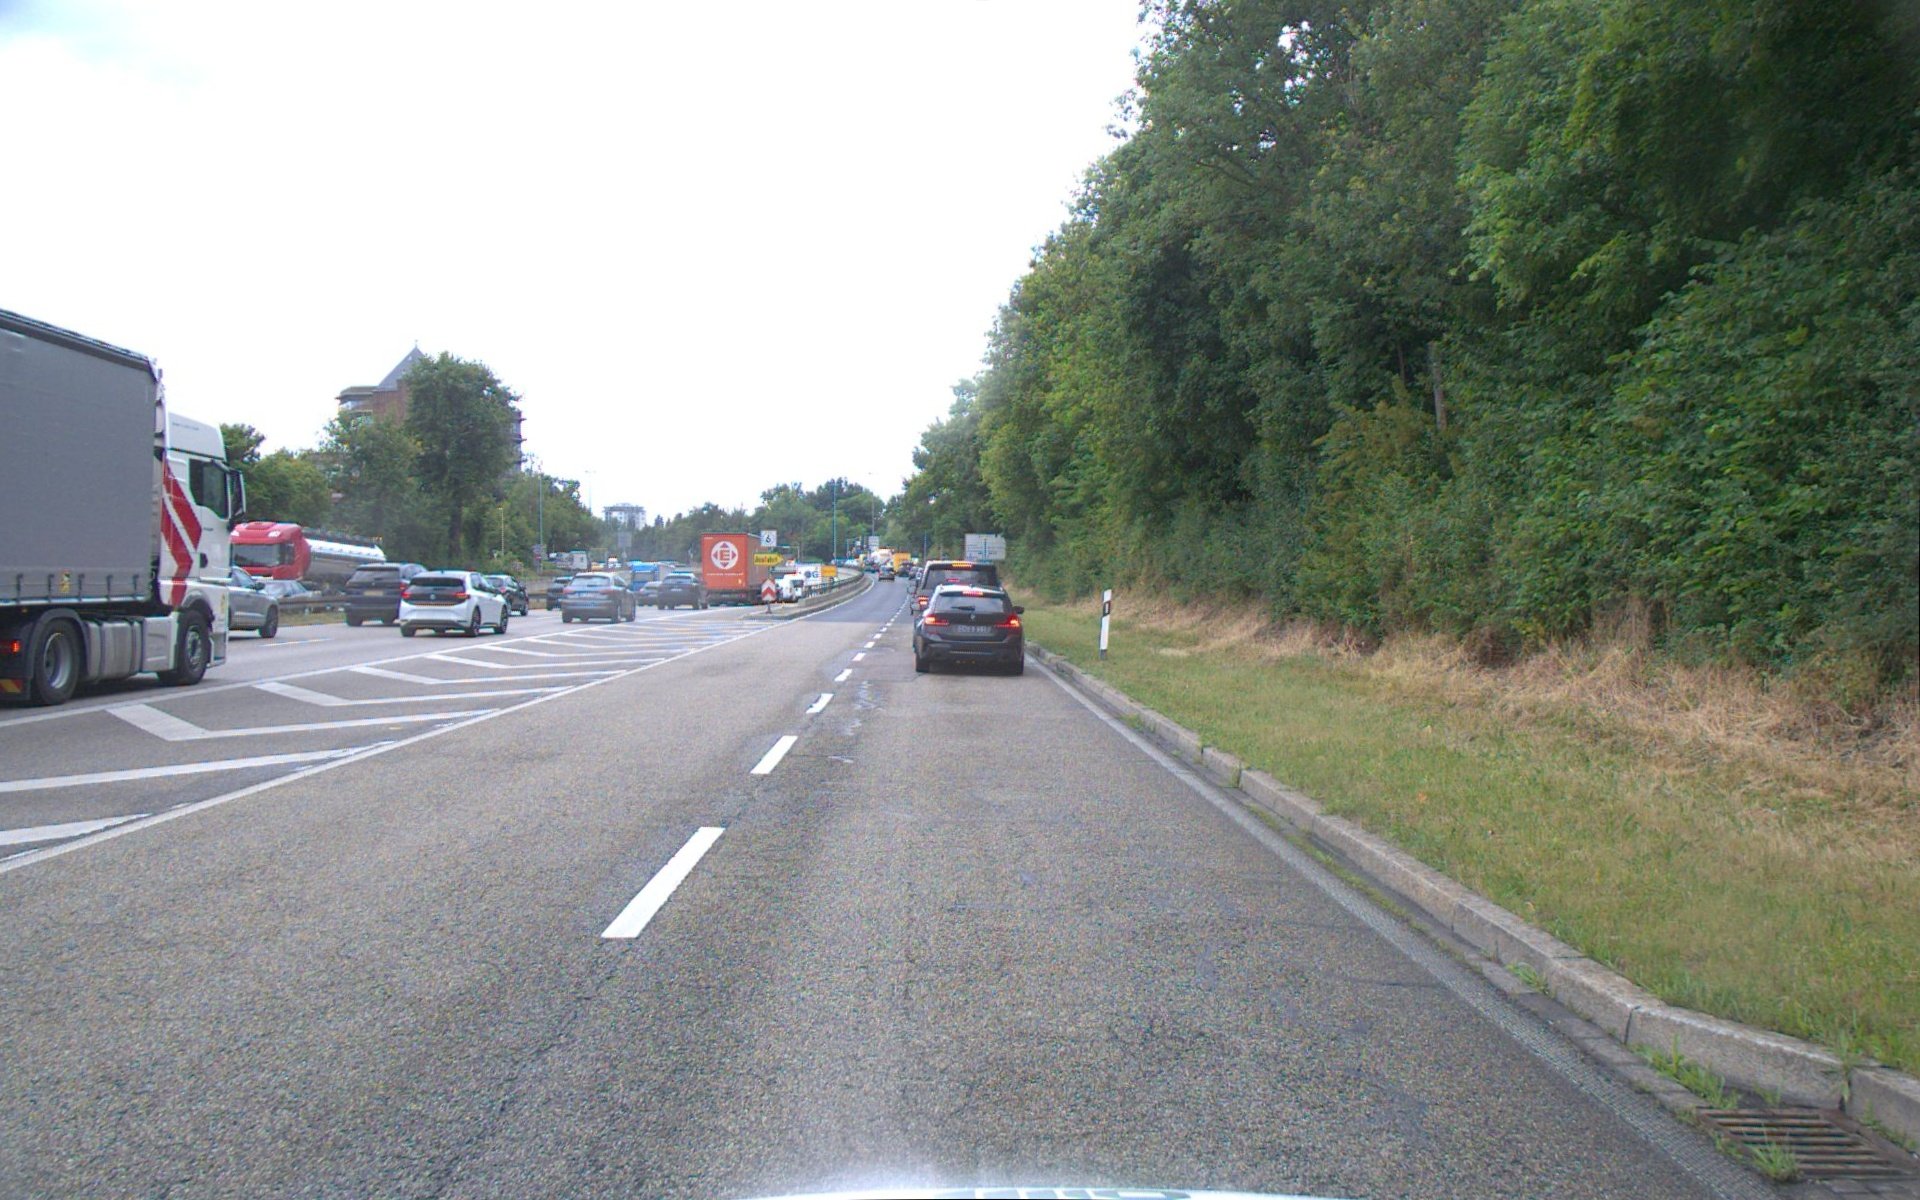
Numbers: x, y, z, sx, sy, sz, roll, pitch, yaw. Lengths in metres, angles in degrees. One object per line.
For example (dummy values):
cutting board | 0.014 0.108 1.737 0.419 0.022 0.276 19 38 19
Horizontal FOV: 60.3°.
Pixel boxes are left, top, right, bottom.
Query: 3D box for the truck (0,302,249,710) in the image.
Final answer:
truck | -11.255 -0.945 19.340 3.136 4.016 7.067 1 0 -4

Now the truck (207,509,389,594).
truck | -28.537 -1.937 72.361 3.004 3.137 14.657 1 0 -4

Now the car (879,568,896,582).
car | -7.786 -2.670 177.278 1.789 1.508 3.998 1 0 -3

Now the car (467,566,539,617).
car | -16.647 -0.299 60.388 1.683 1.746 3.997 1 0 -3

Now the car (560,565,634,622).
car | -11.659 -0.198 53.327 1.683 1.713 3.997 1 0 -3

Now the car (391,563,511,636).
car | -12.285 0.001 40.201 1.764 1.632 4.255 1 0 -3

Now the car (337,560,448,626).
car | -16.167 -0.179 47.330 1.836 1.746 3.999 1 0 -2

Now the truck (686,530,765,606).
truck | -13.665 -1.820 97.527 3.420 4.144 13.584 0 1 -3

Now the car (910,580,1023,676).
car | 0.043 0.417 28.222 1.788 1.508 3.999 0 1 -2

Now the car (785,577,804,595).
car | -14.531 -1.259 145.717 1.526 1.579 3.997 0 1 -4

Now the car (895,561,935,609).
car | -2.000 -0.652 72.297 1.573 2.049 3.997 0 1 -4

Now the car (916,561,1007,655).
car | 0.004 0.174 35.411 1.786 1.853 3.999 1 0 -1

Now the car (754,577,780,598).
car | -14.031 -0.927 120.514 1.743 1.508 3.996 0 1 -5

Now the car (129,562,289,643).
car | -16.018 0.024 35.497 1.694 1.629 3.927 0 1 -1

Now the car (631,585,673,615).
car | -17.744 0.013 95.385 1.822 1.646 3.998 1 0 -2

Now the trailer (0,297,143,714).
trailer | -10.864 -0.975 12.935 3.234 4.107 13.086 1 0 -4

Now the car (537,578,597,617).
car | -17.437 -0.088 73.552 1.822 1.646 3.998 1 0 -2

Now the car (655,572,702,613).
car | -13.465 -0.340 79.282 1.823 1.847 3.996 1 0 -4

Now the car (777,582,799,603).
car | -13.504 -0.598 129.966 1.526 1.579 3.815 1 0 -4

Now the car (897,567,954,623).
car | -1.363 -0.211 63.314 1.954 2.049 3.997 0 1 -4
